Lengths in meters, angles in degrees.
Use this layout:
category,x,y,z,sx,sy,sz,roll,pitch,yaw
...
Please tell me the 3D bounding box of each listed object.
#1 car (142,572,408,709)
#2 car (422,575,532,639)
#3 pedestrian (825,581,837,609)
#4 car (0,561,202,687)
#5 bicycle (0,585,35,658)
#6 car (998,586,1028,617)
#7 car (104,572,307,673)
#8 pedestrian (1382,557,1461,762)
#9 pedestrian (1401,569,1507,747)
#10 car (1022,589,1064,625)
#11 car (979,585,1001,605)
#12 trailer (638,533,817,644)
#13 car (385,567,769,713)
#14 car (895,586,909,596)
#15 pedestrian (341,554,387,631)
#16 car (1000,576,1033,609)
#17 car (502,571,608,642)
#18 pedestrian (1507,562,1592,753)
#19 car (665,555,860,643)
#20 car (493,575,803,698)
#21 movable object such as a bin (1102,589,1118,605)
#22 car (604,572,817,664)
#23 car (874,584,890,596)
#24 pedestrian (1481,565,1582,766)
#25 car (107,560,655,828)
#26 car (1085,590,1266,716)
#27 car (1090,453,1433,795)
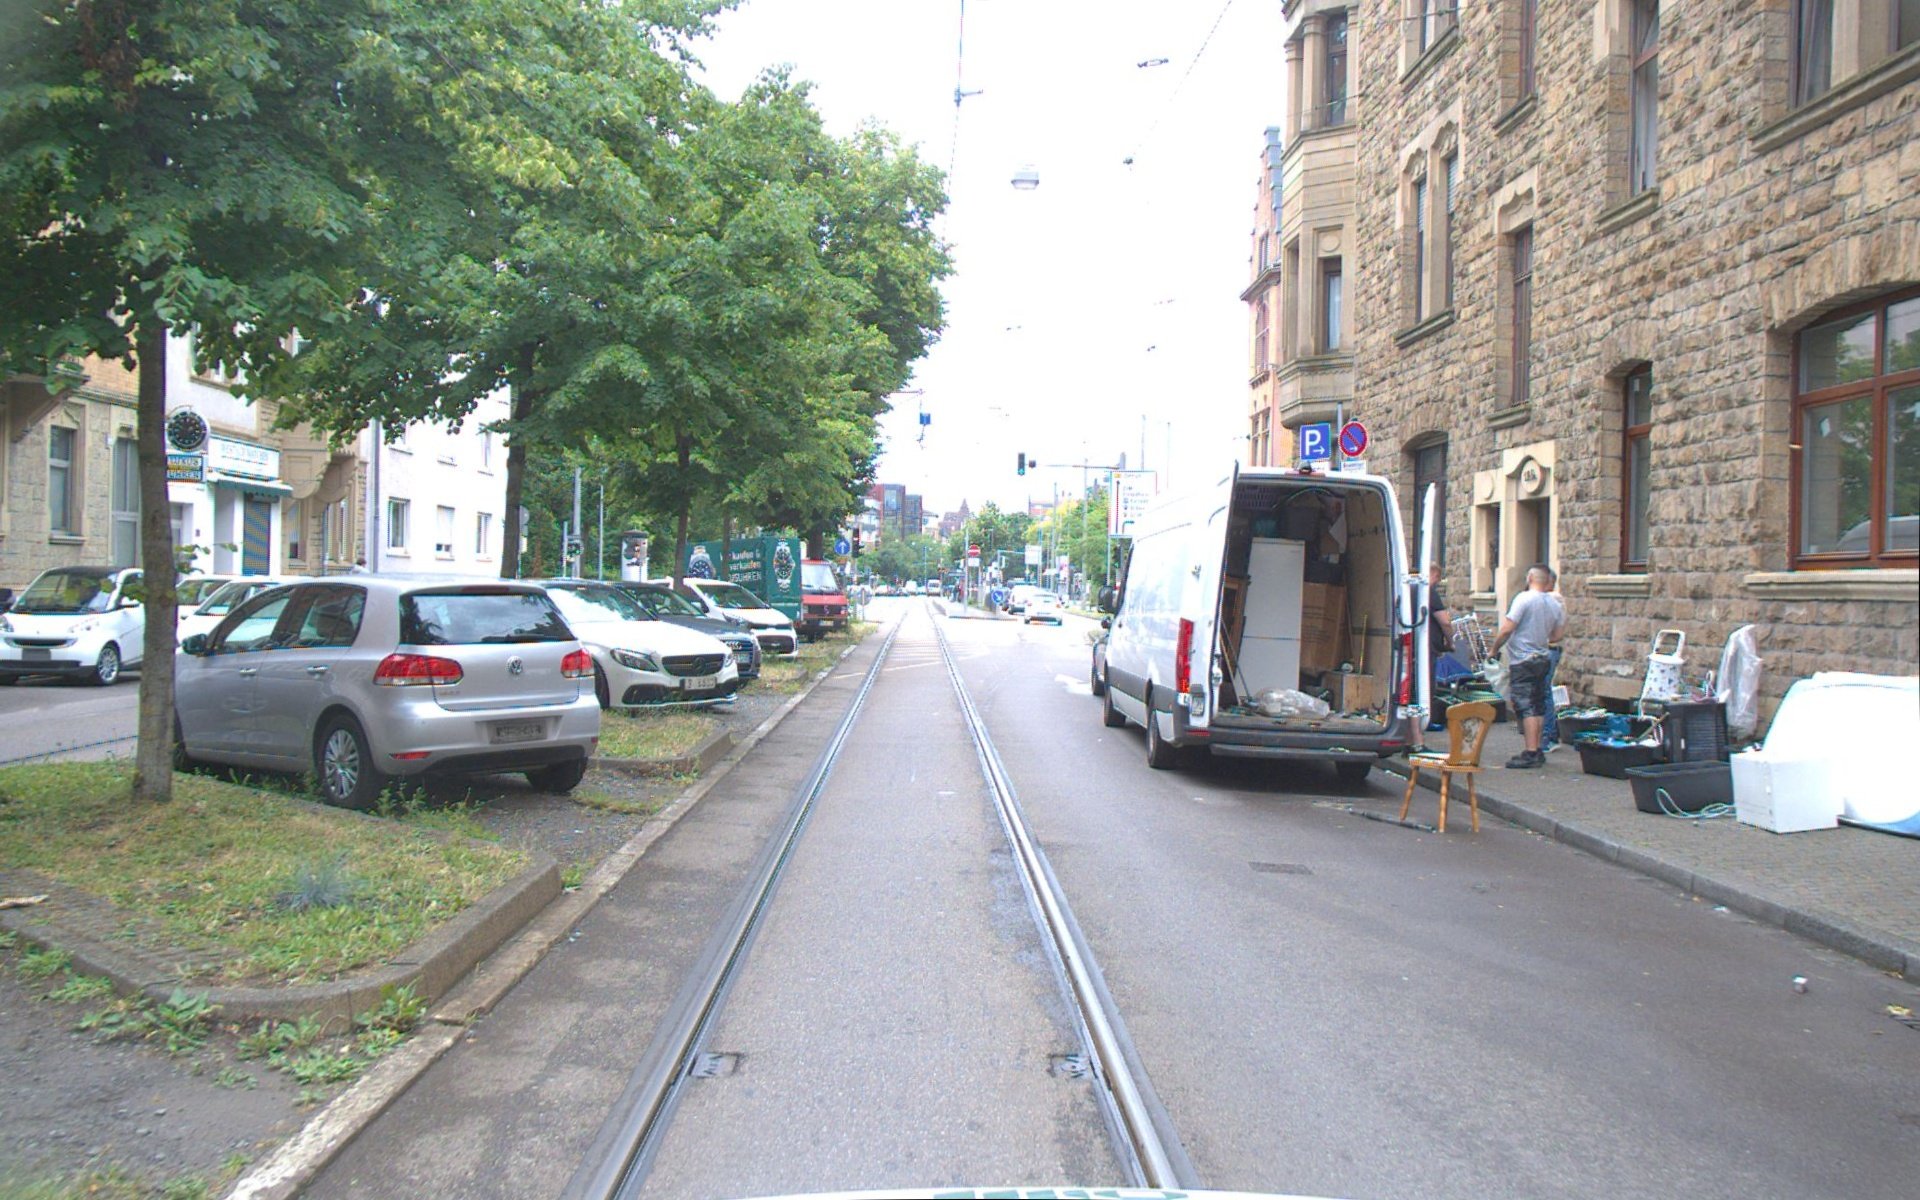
category,x,y,z,sx,sy,sz,roll,pitch,yaw
car,-8.605,0.466,21.229,1.611,1.530,4.620,1,0,-2
car,-12.076,0.150,41.604,1.602,1.468,4.568,1,0,-3
pedestrian,-8.287,-0.330,105.925,0.687,1.745,0.697,1,0,-10
car,-11.814,0.288,22.619,1.602,1.577,2.949,1,0,-3
bicycle,-14.773,0.324,24.731,0.696,1.091,2.258,1,0,-3
car,3.541,0.057,111.473,1.746,1.997,4.381,1,0,-1
car,-11.988,0.316,26.550,1.602,1.468,3.921,1,0,-3
pedestrian,4.287,0.532,15.393,0.488,1.847,0.803,-1,0,0
pedestrian,4.957,0.564,16.618,0.848,1.729,0.535,-1,0,-16
car,3.720,0.302,74.553,1.746,1.498,4.011,1,1,1
car,2.698,-0.458,148.725,1.746,1.708,4.381,1,1,-1
trailer,-5.262,-0.279,37.376,3.593,2.385,1.926,1,0,32
car,-4.524,0.389,19.217,4.598,1.460,1.890,2,1,38
car,-9.121,-1.343,259.687,1.733,1.519,3.889,1,0,5
pedestrian,-14.287,-0.181,39.683,0.781,1.797,0.900,1,0,-3
car,3.517,-0.472,103.406,1.746,1.997,4.381,1,0,-2
car,-9.323,0.142,38.352,1.611,1.530,3.882,1,0,-2
pedestrian,5.521,0.522,15.501,0.499,1.747,0.579,-1,0,-11
car,-4.847,-0.054,40.321,4.675,2.009,1.951,1,0,37
car,-4.288,0.433,22.370,4.261,1.460,1.888,2,1,41
movable object such as a bin,13.201,-0.268,145.257,1.256,1.414,1.159,1,0,-1
car,-4.478,0.292,29.414,3.793,1.488,1.680,2,1,41
car,-11.008,-1.406,232.789,1.733,1.519,3.889,1,0,5
pedestrian,5.069,0.564,14.672,0.695,1.729,0.488,-1,0,-29
car,-4.155,0.524,11.582,4.041,1.510,1.788,2,0,40
car,2.851,0.643,22.941,1.787,1.475,5.006,2,0,0
car,2.654,0.161,16.531,1.972,2.593,7.016,3,0,-1
